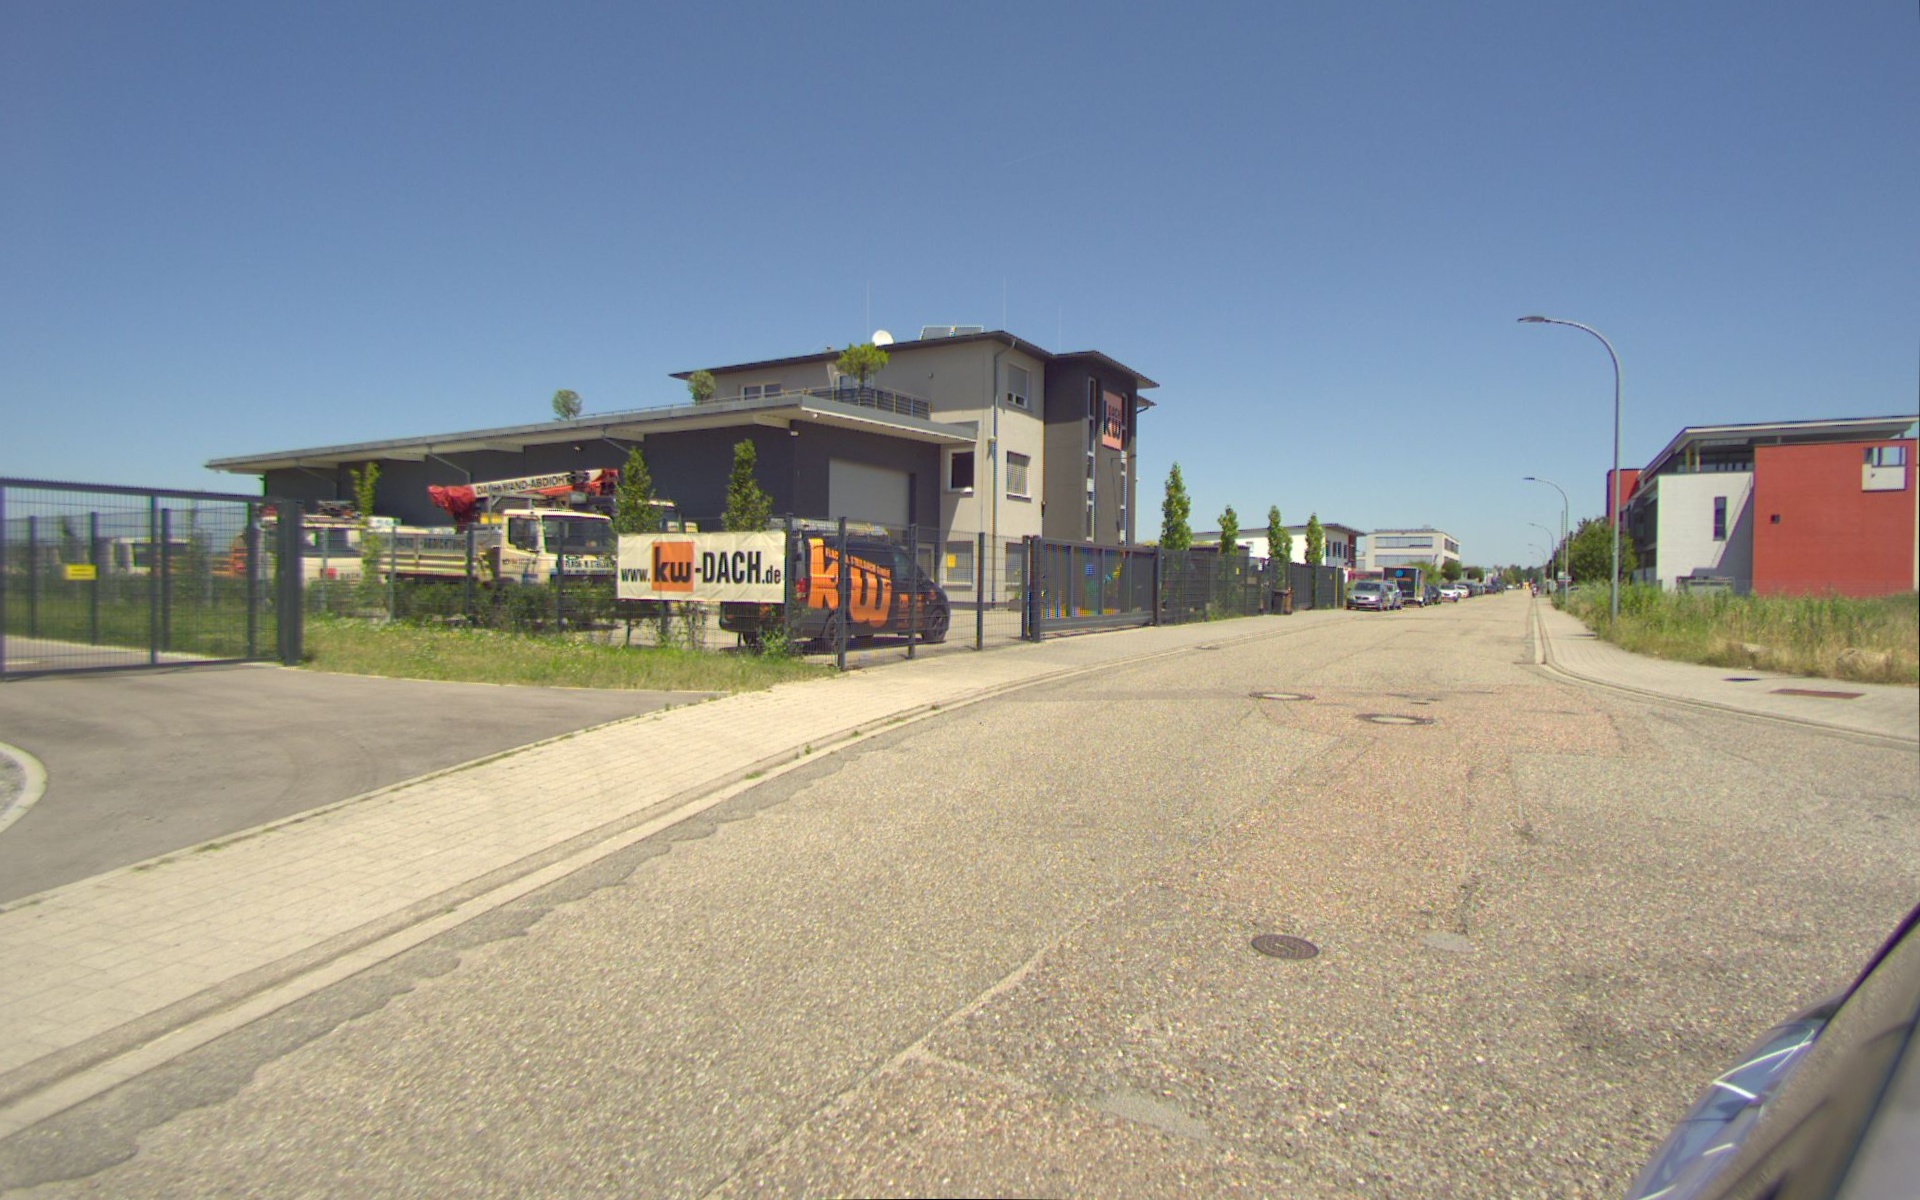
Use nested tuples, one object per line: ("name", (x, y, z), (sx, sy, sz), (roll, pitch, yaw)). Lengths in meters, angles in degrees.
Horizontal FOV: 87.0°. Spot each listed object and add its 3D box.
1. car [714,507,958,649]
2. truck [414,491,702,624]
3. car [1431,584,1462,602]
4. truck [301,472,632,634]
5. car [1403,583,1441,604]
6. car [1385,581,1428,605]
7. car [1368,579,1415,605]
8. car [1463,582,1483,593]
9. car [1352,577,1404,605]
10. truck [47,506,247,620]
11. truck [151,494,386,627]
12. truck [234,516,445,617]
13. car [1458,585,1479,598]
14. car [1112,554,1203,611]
("car", (-2.031, -0.397, 18.109), (1.905, 2.188, 4.730), (1, 1, 30))
("truck", (-11.286, -1.111, 27.976), (8.903, 3.216, 2.660), (1, 1, 32))
("car", (37.791, -0.532, 78.609), (1.815, 1.292, 3.844), (2, 2, 31))
("truck", (-11.072, -0.964, 22.349), (8.295, 3.060, 2.596), (1, 1, 32))
("car", (29.928, -0.424, 65.481), (1.815, 1.292, 3.844), (2, 2, 31))
("car", (26.156, -0.445, 59.248), (1.815, 1.292, 3.844), (2, 2, 31))
("car", (23.311, -0.463, 54.587), (1.815, 1.292, 3.844), (2, 2, 31))
("car", (60.286, -1.456, 118.897), (1.815, 1.292, 3.844), (2, 2, 31))
("car", (20.870, -0.477, 50.469), (1.815, 1.292, 3.844), (2, 2, 31))
("truck", (-24.315, -1.064, 30.171), (6.976, 3.060, 2.468), (1, 1, 32))
("truck", (-18.087, -0.981, 26.334), (6.976, 3.060, 2.468), (1, 1, 32))
("truck", (-21.046, -1.104, 34.135), (8.295, 3.060, 2.660), (1, 1, 32))
("car", (57.178, -0.957, 113.850), (1.815, 1.292, 3.844), (2, 2, 31))
("car", (6.796, -0.613, 34.597), (1.913, 1.817, 3.960), (2, 2, 29))
